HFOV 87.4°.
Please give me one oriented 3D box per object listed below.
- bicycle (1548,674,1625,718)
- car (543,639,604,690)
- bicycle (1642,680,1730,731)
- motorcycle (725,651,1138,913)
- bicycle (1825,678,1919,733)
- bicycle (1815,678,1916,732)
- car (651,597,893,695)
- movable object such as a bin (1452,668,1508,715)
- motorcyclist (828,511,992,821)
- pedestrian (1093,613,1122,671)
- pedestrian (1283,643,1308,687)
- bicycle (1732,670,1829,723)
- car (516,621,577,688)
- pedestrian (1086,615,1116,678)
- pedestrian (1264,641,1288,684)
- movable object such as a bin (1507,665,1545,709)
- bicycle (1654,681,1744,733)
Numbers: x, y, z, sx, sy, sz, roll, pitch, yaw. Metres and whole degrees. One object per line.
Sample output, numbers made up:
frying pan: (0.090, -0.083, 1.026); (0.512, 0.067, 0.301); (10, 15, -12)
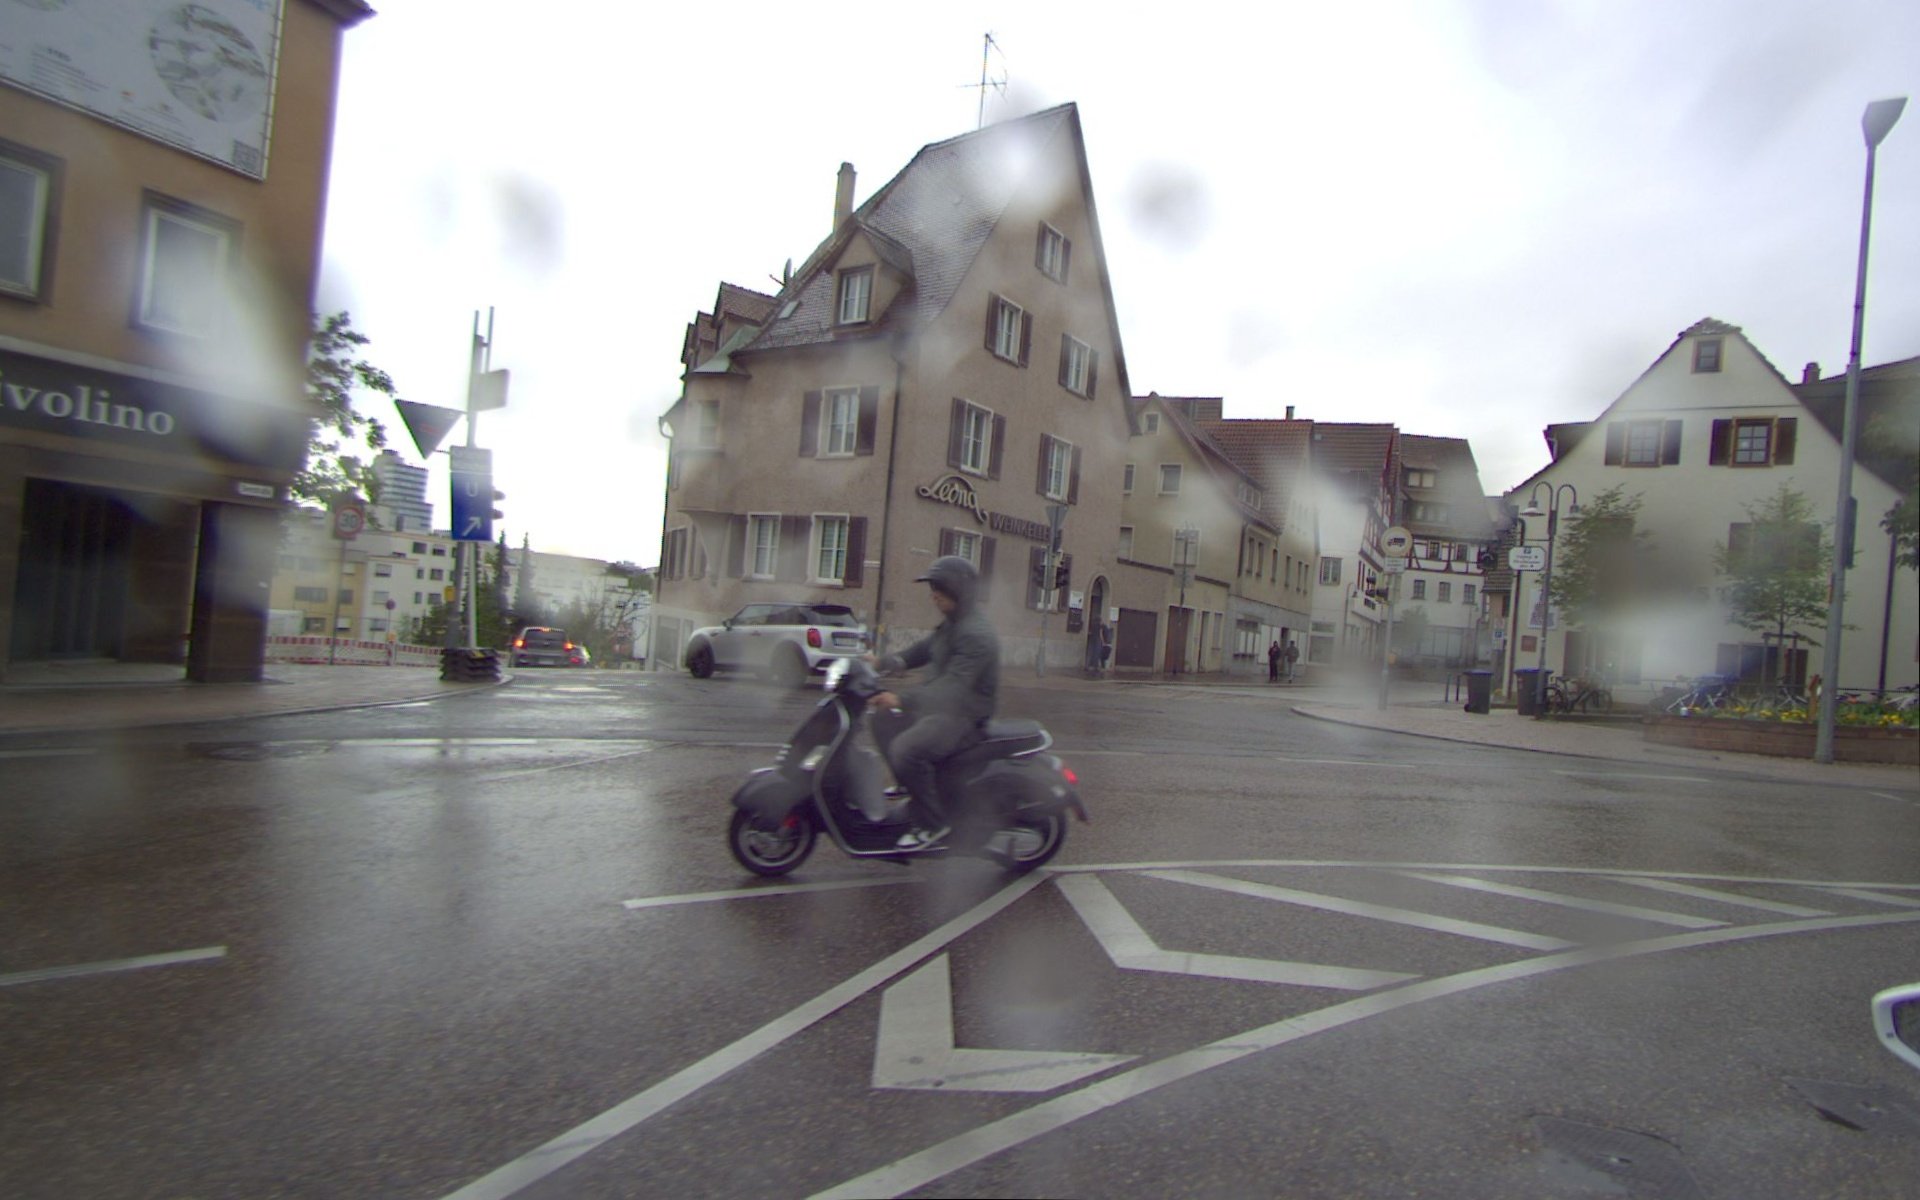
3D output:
bicycle: (13.076, 1.999, 20.972); (1.410, 0.829, 0.338); (3, 3, -7)
car: (-16.211, 2.667, 42.313); (1.800, 1.609, 4.733); (4, 1, -15)
bicycle: (14.997, 2.170, 20.759); (1.440, 0.924, 0.392); (3, 2, 2)
motorcycle: (-0.143, 0.871, 5.030); (1.880, 1.146, 0.770); (2, 0, -4)
bicycle: (18.026, 2.075, 19.774); (1.440, 0.924, 0.393); (3, 2, 15)
bicycle: (18.167, 2.097, 20.175); (1.440, 0.924, 0.393); (3, 2, 15)
car: (-3.359, 0.762, 17.742); (3.934, 1.450, 1.994); (2, -1, 36)
movable object such as a bin: (11.387, 2.008, 21.996); (0.776, 0.939, 0.722); (3, 0, -20)
motorcyclist: (-0.254, 0.299, 4.974); (0.655, 1.372, 0.810); (4, 1, -4)
pedestrian: (4.568, 1.300, 31.056); (0.547, 1.751, 0.535); (4, -1, 41)
pedestrian: (13.981, 2.688, 41.854); (0.769, 1.755, 0.629); (2, 0, 36)
bicycle: (16.692, 1.962, 20.457); (1.440, 0.924, 0.393); (3, 2, 15)
car: (-12.839, 1.653, 31.105); (1.515, 1.496, 3.368); (4, 4, -25)
pedestrian: (4.226, 1.387, 30.163); (0.783, 1.855, 0.714); (0, -1, 17)
pedestrian: (13.308, 2.634, 42.328); (0.769, 1.755, 0.629); (2, 0, 36)
movable object such as a bin: (12.765, 1.961, 22.663); (0.576, 0.913, 0.584); (4, 0, 16)
bicycle: (14.927, 2.155, 20.302); (1.440, 0.924, 0.392); (3, 2, 2)
